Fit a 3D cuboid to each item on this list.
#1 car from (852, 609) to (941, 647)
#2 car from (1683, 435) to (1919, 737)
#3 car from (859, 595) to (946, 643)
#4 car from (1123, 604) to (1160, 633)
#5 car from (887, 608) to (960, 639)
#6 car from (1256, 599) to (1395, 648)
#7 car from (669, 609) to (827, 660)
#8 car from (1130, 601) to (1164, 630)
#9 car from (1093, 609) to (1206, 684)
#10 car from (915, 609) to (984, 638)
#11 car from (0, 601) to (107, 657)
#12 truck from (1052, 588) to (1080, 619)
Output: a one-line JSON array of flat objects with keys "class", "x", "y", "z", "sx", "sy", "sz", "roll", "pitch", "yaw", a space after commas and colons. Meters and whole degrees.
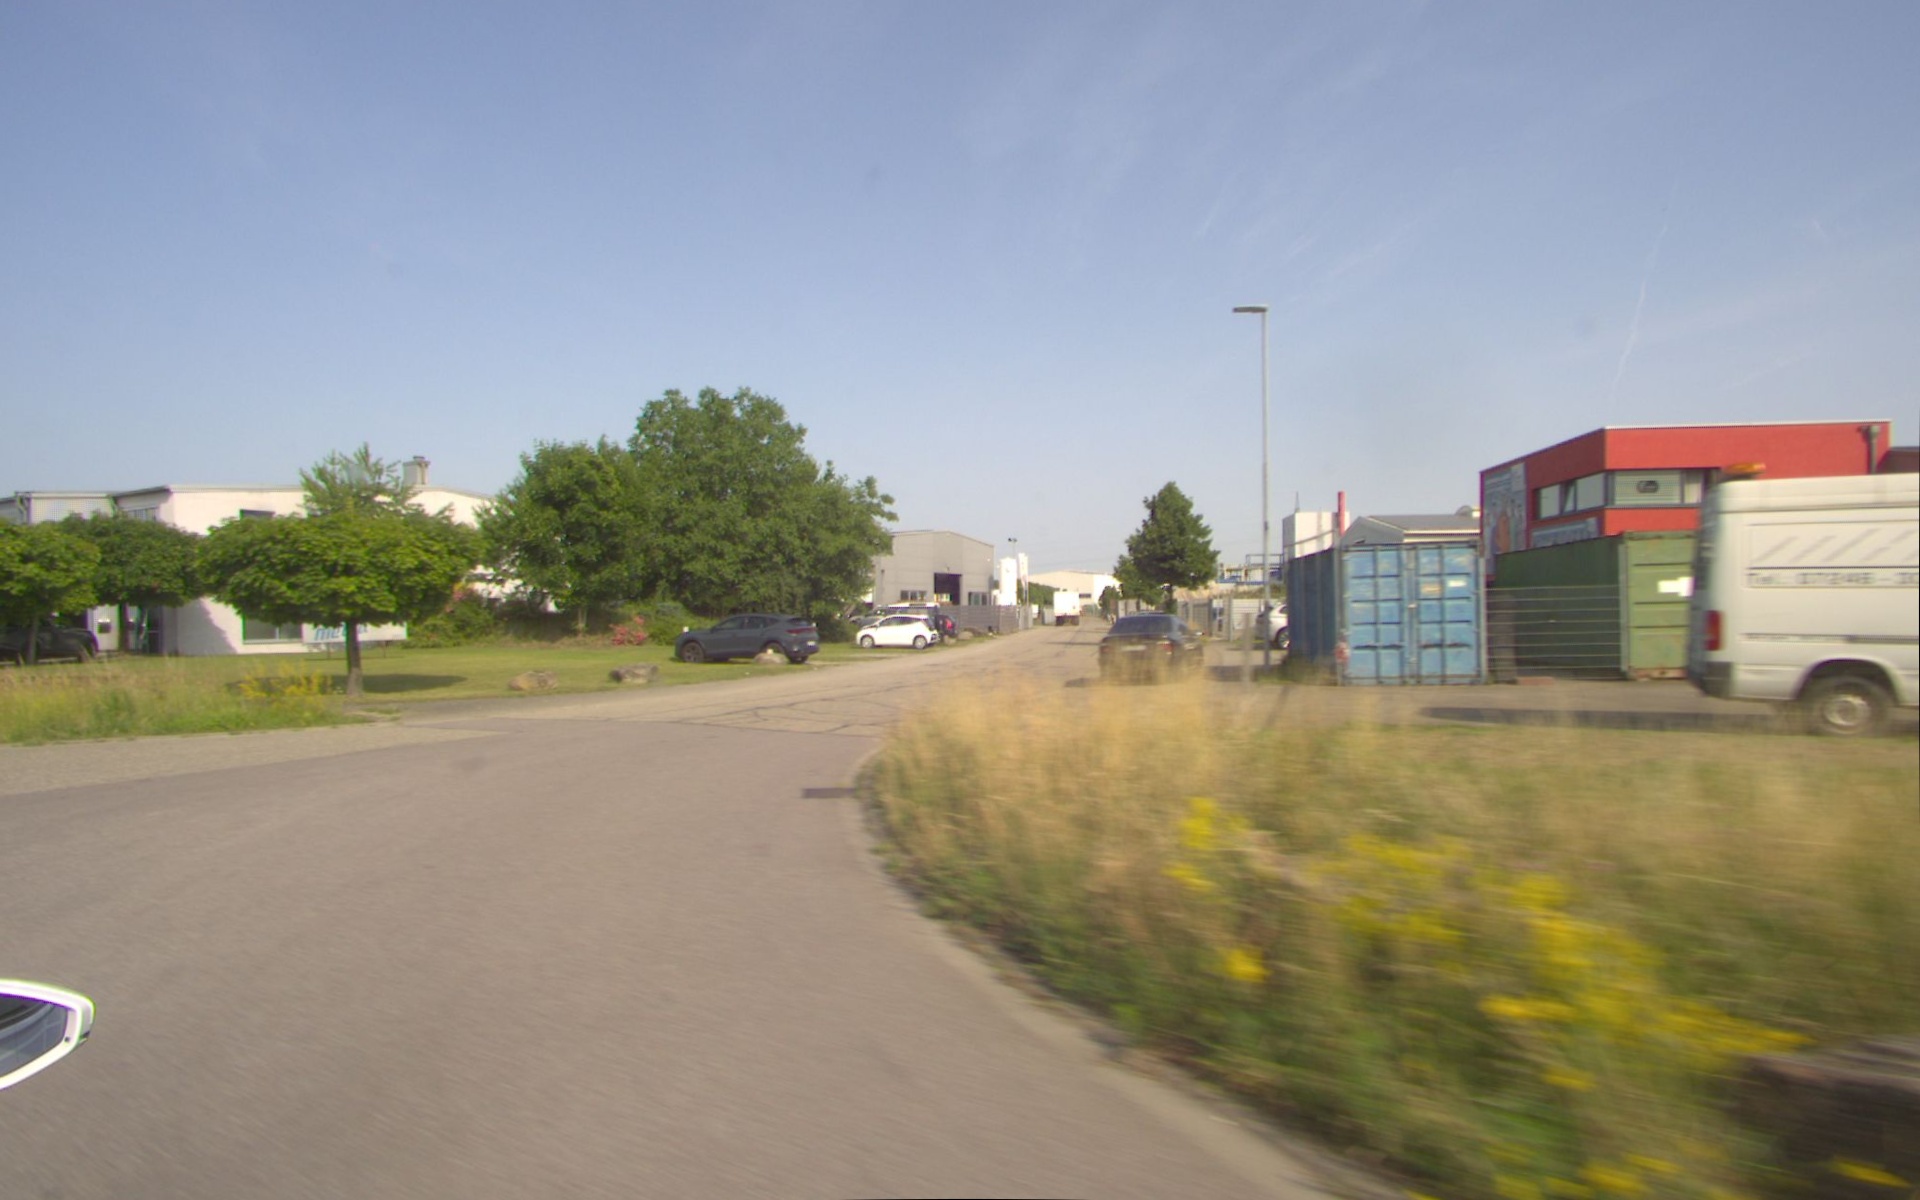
[{"class": "car", "x": -2.650, "y": 1.175, "z": 42.382, "sx": 3.452, "sy": 1.469, "sz": 1.562, "roll": -2, "pitch": 0, "yaw": 11}, {"class": "car", "x": 10.347, "y": -0.132, "z": 9.244, "sx": 5.795, "sy": 2.741, "sz": 1.971, "roll": -1, "pitch": 0, "yaw": 31}, {"class": "car", "x": -2.640, "y": 0.854, "z": 46.329, "sx": 3.637, "sy": 1.983, "sz": 1.684, "roll": 3, "pitch": 2, "yaw": 11}, {"class": "car", "x": 11.329, "y": 1.134, "z": 62.253, "sx": 1.963, "sy": 1.751, "sz": 3.996, "roll": 0, "pitch": 0, "yaw": 14}, {"class": "car", "x": -1.746, "y": 1.116, "z": 48.272, "sx": 3.255, "sy": 1.428, "sz": 1.561, "roll": -1, "pitch": 0, "yaw": 11}, {"class": "car", "x": 12.851, "y": 0.832, "z": 35.444, "sx": 4.381, "sy": 1.654, "sz": 1.786, "roll": -1, "pitch": 0, "yaw": 10}, {"class": "car", "x": -6.282, "y": 0.995, "z": 29.810, "sx": 4.268, "sy": 1.428, "sz": 1.784, "roll": -1, "pitch": 0, "yaw": 16}, {"class": "car", "x": 10.505, "y": 0.865, "z": 56.084, "sx": 1.800, "sy": 1.542, "sz": 3.586, "roll": -1, "pitch": 0, "yaw": 12}, {"class": "car", "x": 4.248, "y": 0.956, "z": 21.907, "sx": 1.779, "sy": 1.427, "sz": 4.464, "roll": -2, "pitch": -1, "yaw": 19}, {"class": "car", "x": -0.528, "y": 1.196, "z": 51.009, "sx": 3.255, "sy": 1.428, "sz": 1.561, "roll": -1, "pitch": 0, "yaw": 11}, {"class": "car", "x": -28.273, "y": 0.894, "z": 30.485, "sx": 1.657, "sy": 1.609, "sz": 4.529, "roll": 1, "pitch": -2, "yaw": -14}, {"class": "truck", "x": 12.323, "y": 0.424, "z": 115.738, "sx": 2.491, "sy": 3.415, "sz": 7.672, "roll": 0, "pitch": 0, "yaw": 11}]
